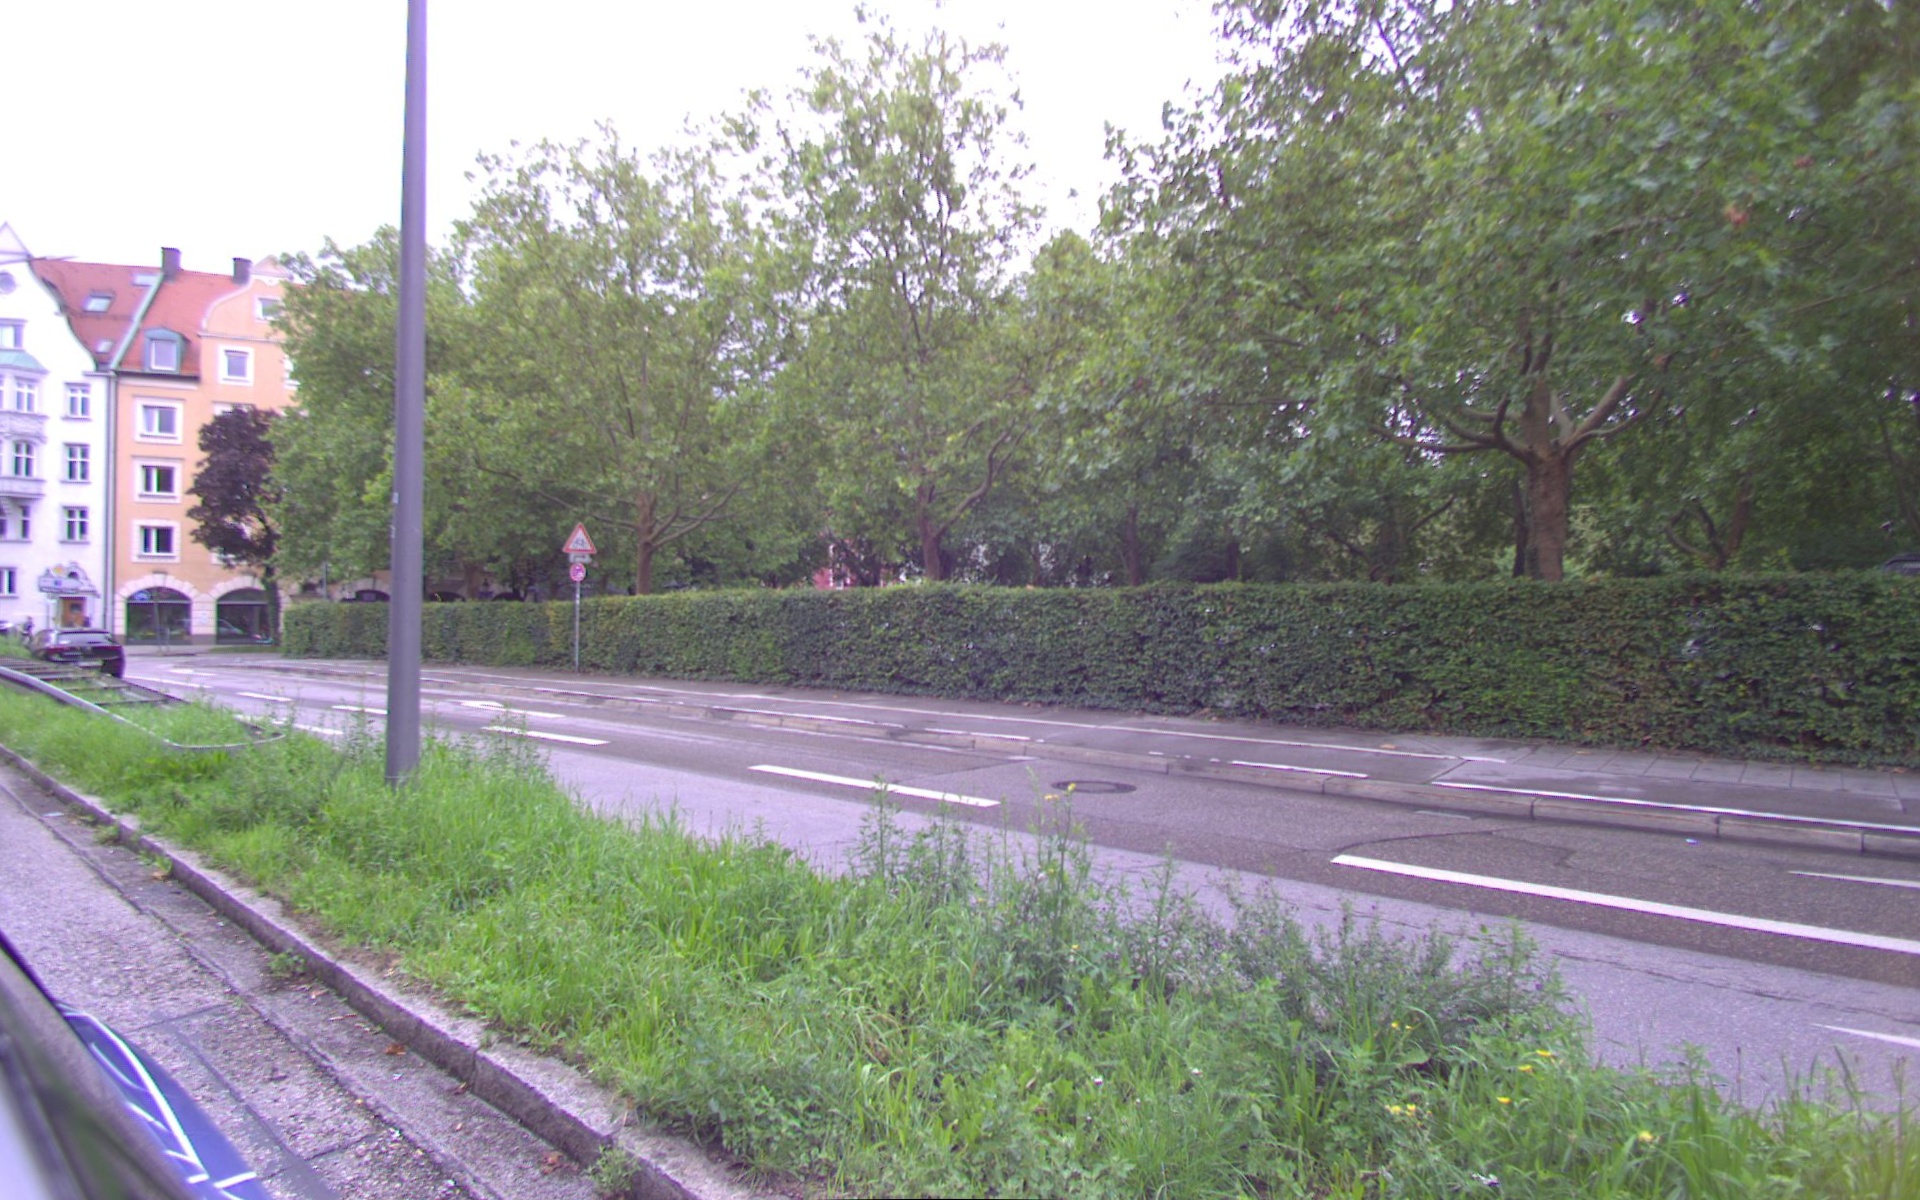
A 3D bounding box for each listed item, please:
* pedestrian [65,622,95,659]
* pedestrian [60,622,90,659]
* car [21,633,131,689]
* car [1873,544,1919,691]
[{"bbox_3d":[-49.888,2.277,57.387,0.991,2.029,0.881,-1,0,-18],"label":"pedestrian"},{"bbox_3d":[-49.468,2.254,56.599,0.991,2.029,0.881,-1,0,-18],"label":"pedestrian"},{"bbox_3d":[-24.094,1.603,27.536,3.998,1.395,1.735,-2,-2,41],"label":"car"},{"bbox_3d":[18.929,0.275,19.356,2.000,2.554,5.779,-1,0,44],"label":"car"}]
